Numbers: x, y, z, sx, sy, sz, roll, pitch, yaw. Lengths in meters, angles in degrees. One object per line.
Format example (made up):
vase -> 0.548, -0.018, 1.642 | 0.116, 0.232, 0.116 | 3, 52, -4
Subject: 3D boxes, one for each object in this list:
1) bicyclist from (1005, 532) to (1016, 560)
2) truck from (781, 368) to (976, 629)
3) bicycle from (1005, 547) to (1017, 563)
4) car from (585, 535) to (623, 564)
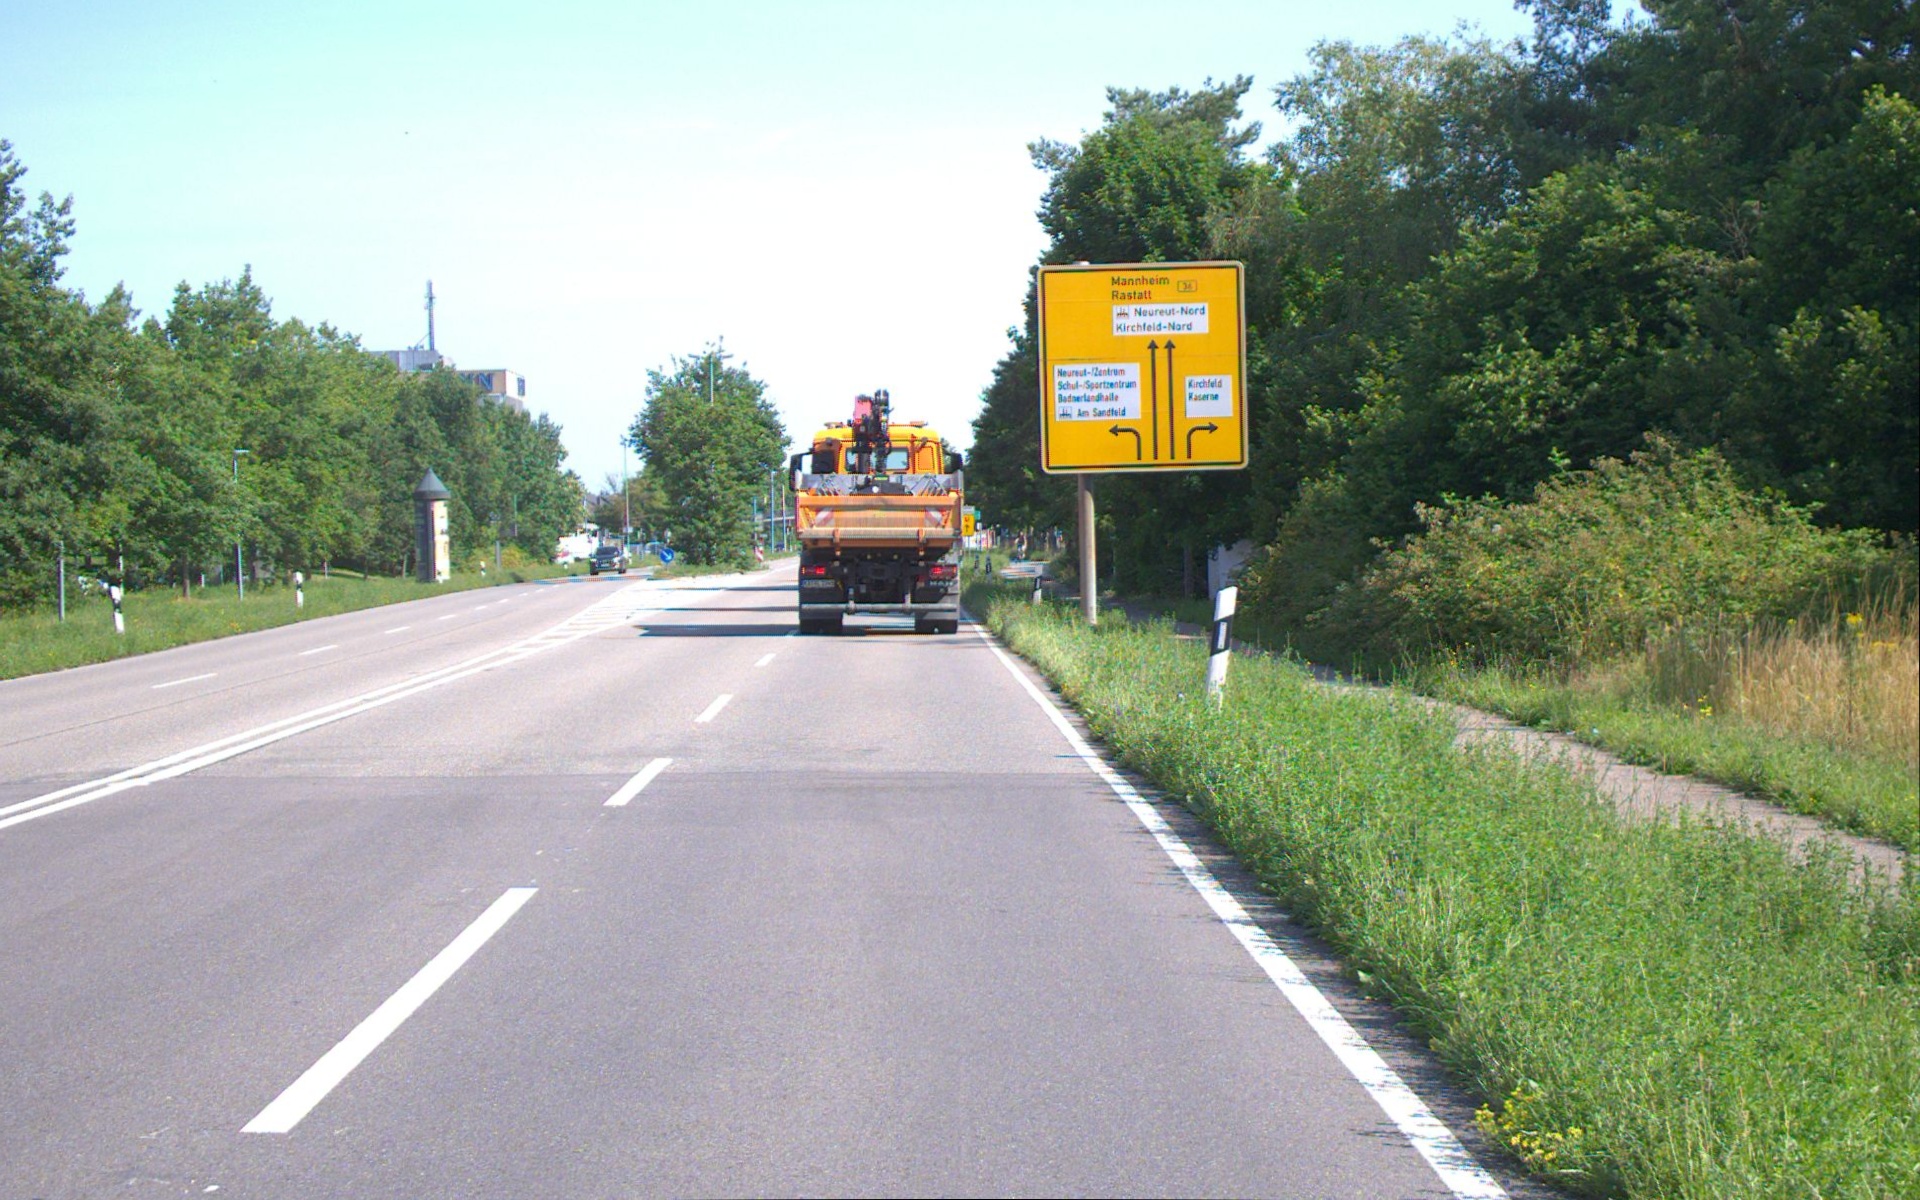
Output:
bicyclist -> 2.775, -2.972, 188.854 | 0.558, 1.552, 0.557 | -2, 1, -1
truck -> -1.414, -1.592, 55.207 | 2.871, 3.867, 7.401 | 1, 1, -3
bicycle -> 2.793, -2.481, 188.874 | 0.558, 0.813, 1.964 | -2, 1, -1
car -> -20.697, -2.948, 199.869 | 1.800, 1.566, 4.000 | -2, 1, -1
